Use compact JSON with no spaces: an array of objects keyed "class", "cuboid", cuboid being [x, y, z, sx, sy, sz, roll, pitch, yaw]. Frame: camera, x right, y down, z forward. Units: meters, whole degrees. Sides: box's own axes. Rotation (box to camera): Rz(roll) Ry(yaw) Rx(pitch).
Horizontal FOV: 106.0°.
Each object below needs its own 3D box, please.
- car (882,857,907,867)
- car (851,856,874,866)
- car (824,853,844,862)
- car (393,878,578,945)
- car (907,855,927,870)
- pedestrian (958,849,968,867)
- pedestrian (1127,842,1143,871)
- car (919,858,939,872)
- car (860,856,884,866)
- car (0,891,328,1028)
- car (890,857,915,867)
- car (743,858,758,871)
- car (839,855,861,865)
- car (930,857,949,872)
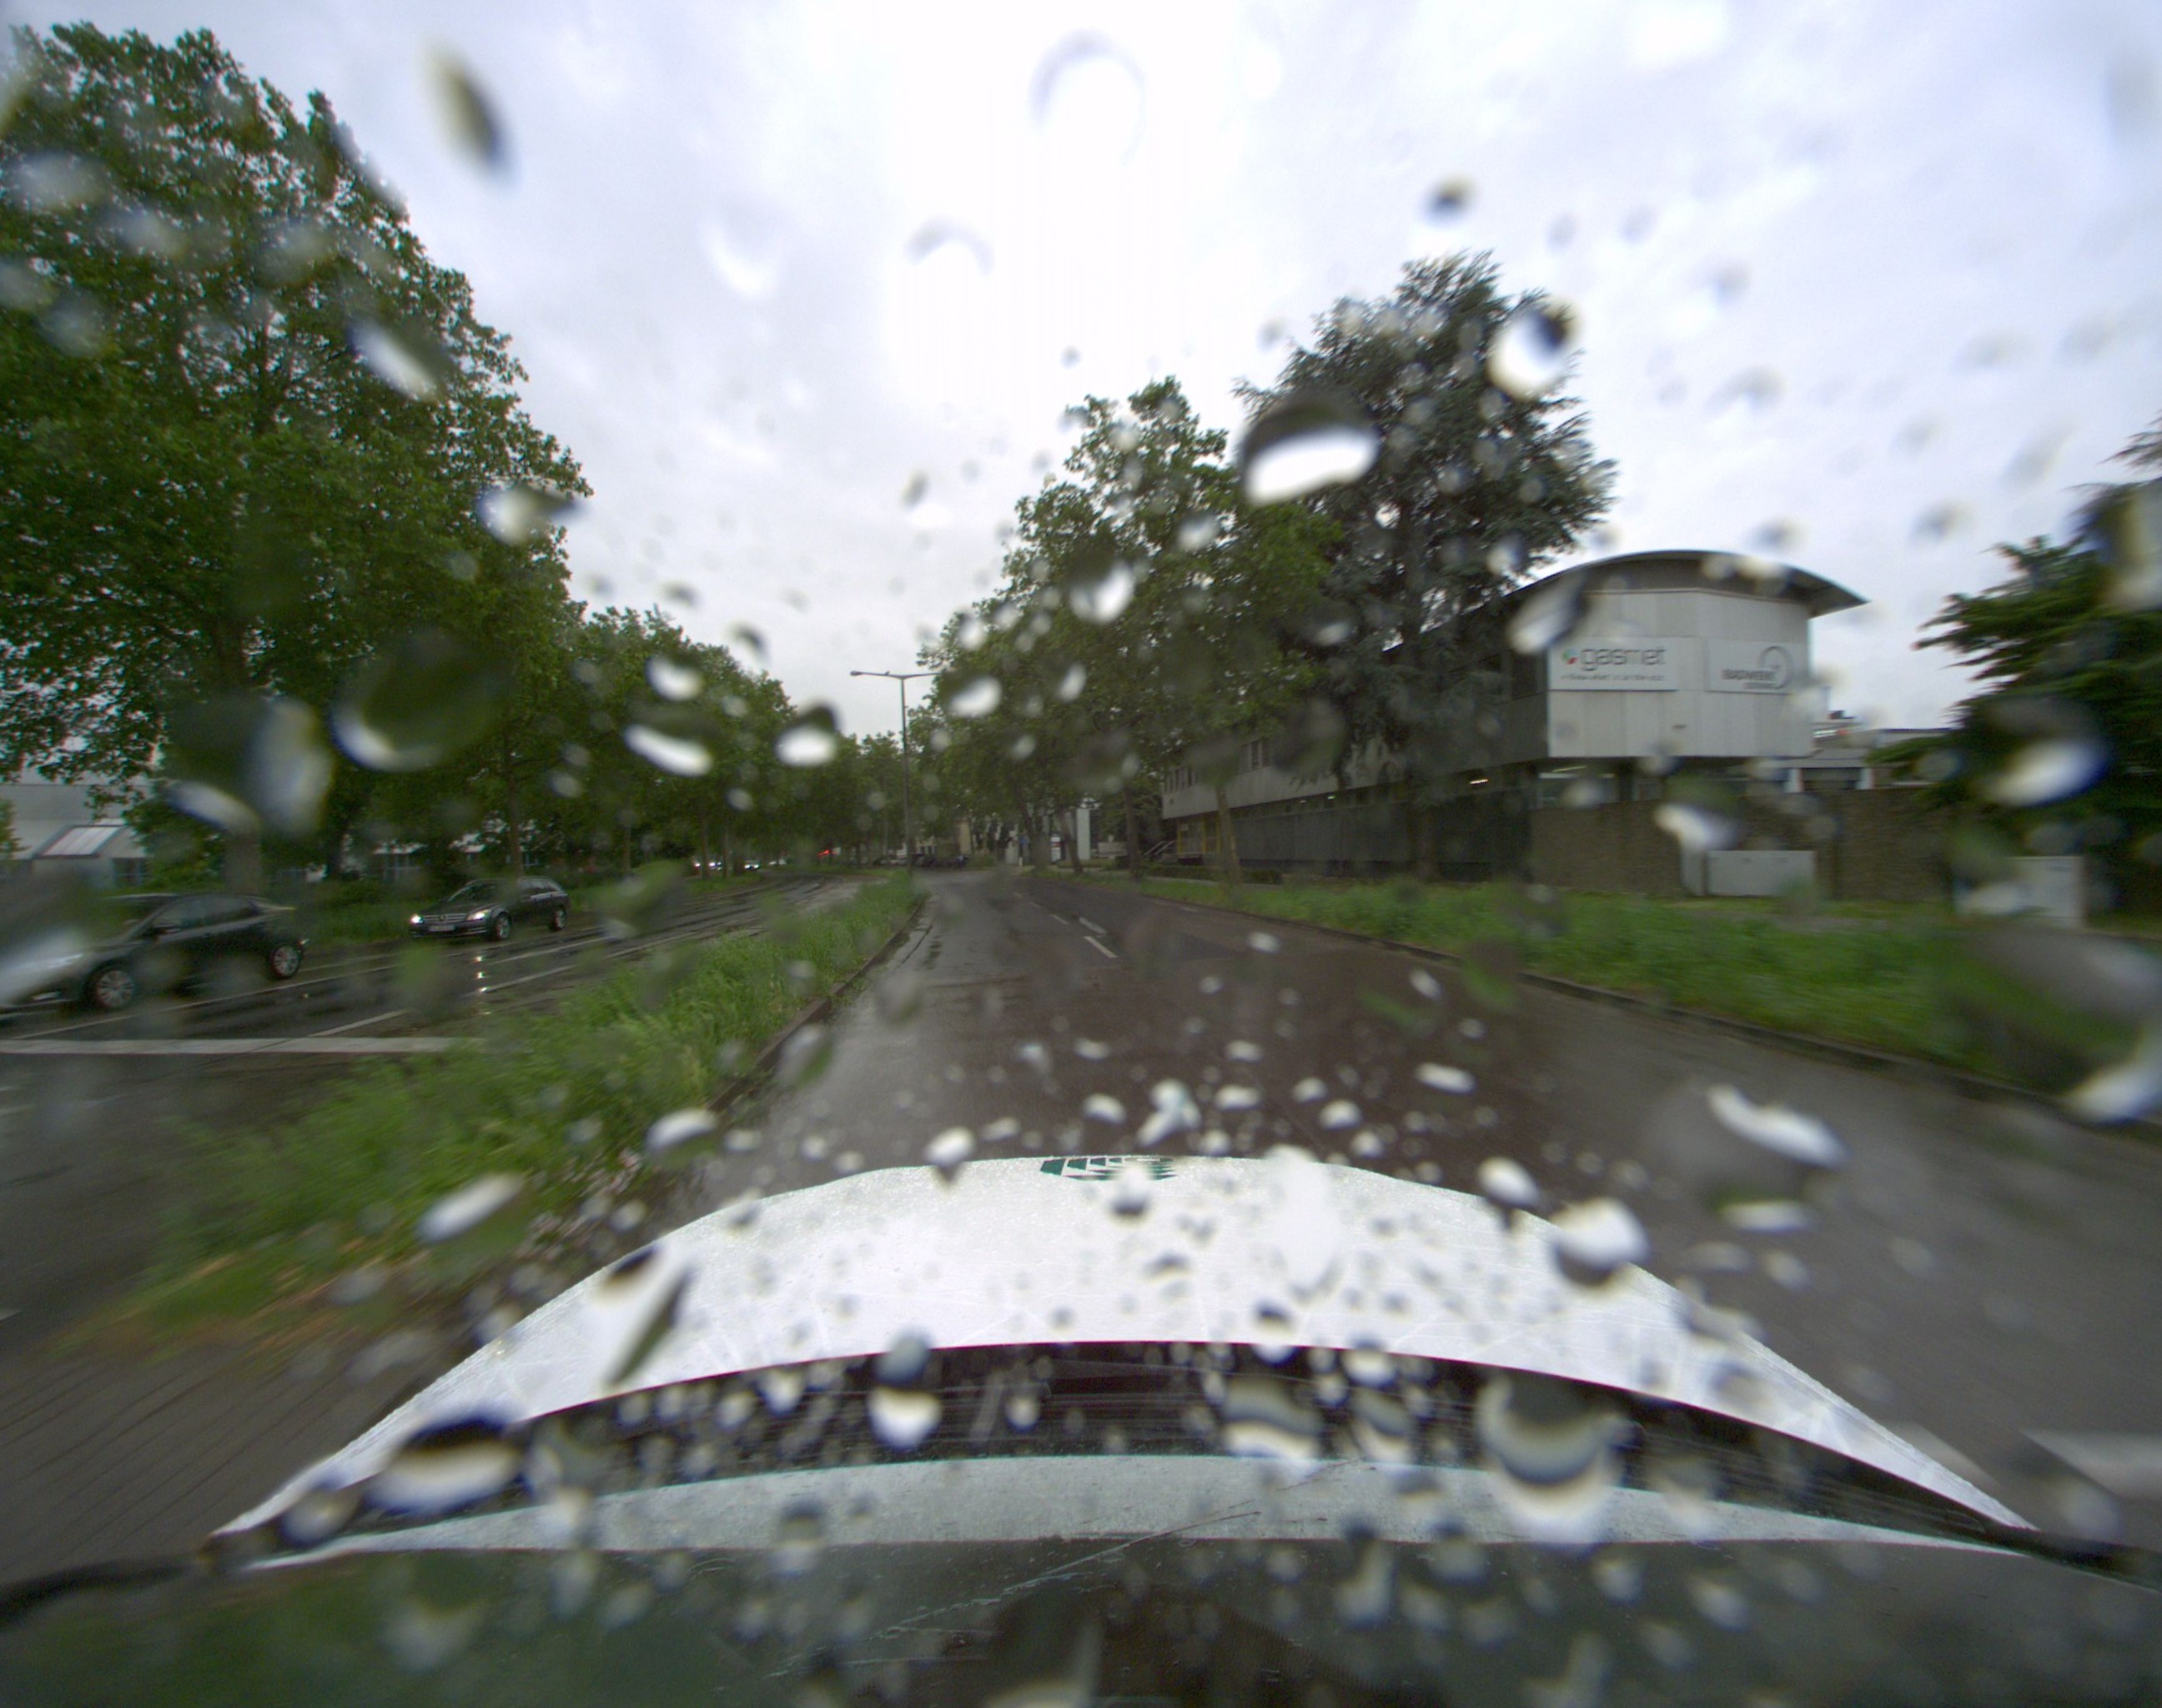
[{"class":"car","cuboid":[-33.120,1.415,144.461,3.895,1.493,1.868,-2,2,-34]},{"class":"car","cuboid":[-43.347,1.312,161.844,4.015,1.820,1.980,-2,2,-33]},{"class":"car","cuboid":[-55.434,0.868,182.858,4.015,1.820,1.980,-2,2,-33]},{"class":"car","cuboid":[-14.476,1.332,20.156,1.798,1.407,4.446,-1,-1,-8]},{"class":"car","cuboid":[-24.944,1.290,123.844,2.131,2.088,3.970,-2,1,-23]},{"class":"pedestrian","cuboid":[-13.416,0.431,92.826,0.700,1.950,0.862,-1,1,26]},{"class":"pedestrian","cuboid":[3.213,0.126,48.279,0.672,1.668,0.820,-2,1,-17]},{"class":"car","cuboid":[-21.060,1.557,112.784,2.001,1.782,3.973,-2,1,-21]},{"class":"car","cuboid":[-40.364,1.355,157.108,4.018,1.831,1.978,-2,2,-36]},{"class":"car","cuboid":[-13.134,1.337,11.326,1.799,1.401,4.298,-3,0,-10]},{"class":"car","cuboid":[-31.006,1.372,141.181,3.890,1.650,1.871,-2,1,-28]},{"class":"car","cuboid":[-57.710,1.816,142.010,1.992,2.013,3.964,-2,2,-28]},{"class":"car","cuboid":[-48.116,1.227,169.476,4.015,1.820,1.980,-2,2,-33]},{"class":"car","cuboid":[-18.461,1.396,106.163,1.998,1.782,3.979,-2,1,-16]}]
